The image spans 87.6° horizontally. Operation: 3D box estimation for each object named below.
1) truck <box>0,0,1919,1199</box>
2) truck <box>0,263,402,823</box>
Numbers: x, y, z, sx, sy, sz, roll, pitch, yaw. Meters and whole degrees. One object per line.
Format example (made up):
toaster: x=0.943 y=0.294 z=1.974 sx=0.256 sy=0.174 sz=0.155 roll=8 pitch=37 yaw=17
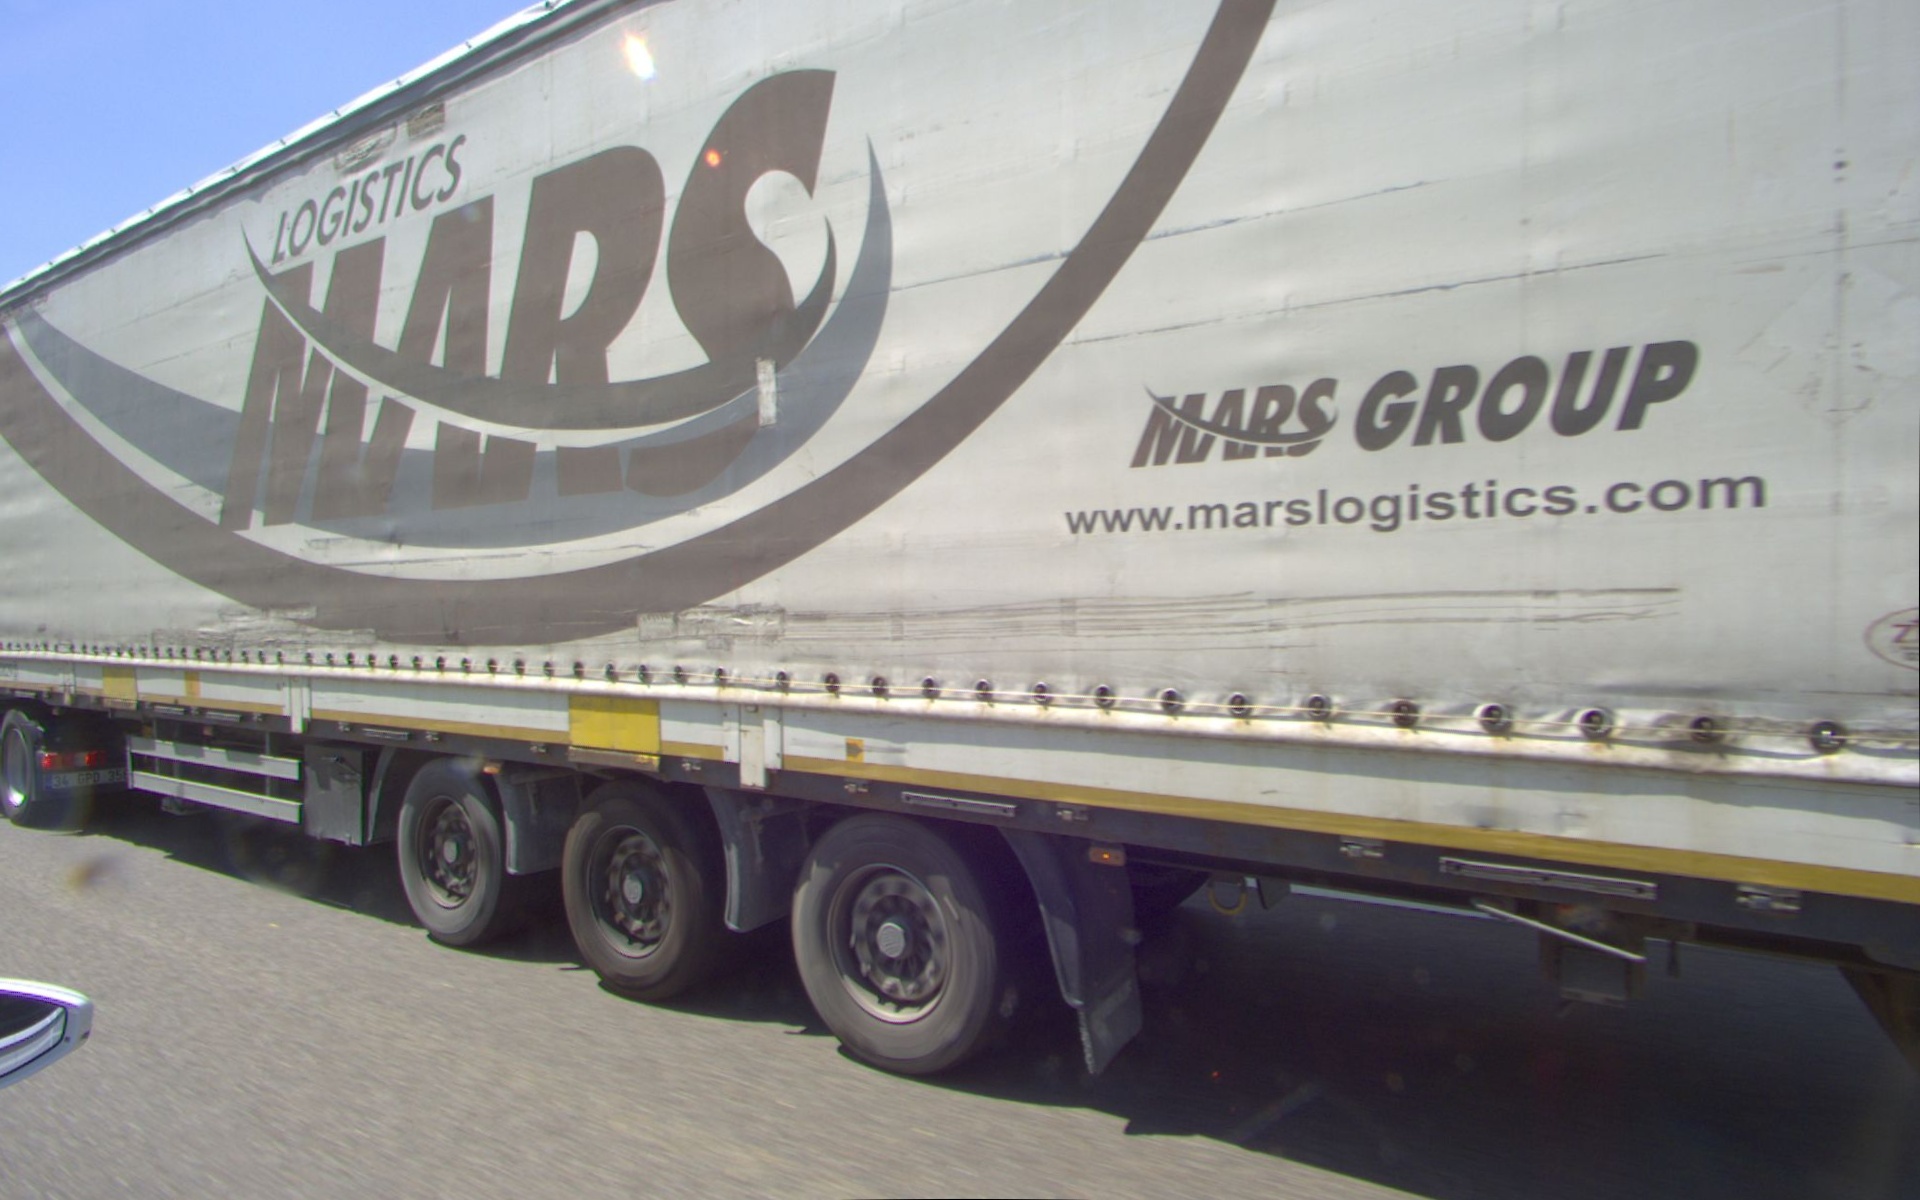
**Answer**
truck: x=-2.882 y=-0.520 z=6.405 sx=13.549 sy=4.120 sz=2.720 roll=-2 pitch=-1 yaw=33
truck: x=-8.505 y=-0.319 z=10.058 sx=5.674 sy=4.120 sz=2.714 roll=-2 pitch=-1 yaw=33
